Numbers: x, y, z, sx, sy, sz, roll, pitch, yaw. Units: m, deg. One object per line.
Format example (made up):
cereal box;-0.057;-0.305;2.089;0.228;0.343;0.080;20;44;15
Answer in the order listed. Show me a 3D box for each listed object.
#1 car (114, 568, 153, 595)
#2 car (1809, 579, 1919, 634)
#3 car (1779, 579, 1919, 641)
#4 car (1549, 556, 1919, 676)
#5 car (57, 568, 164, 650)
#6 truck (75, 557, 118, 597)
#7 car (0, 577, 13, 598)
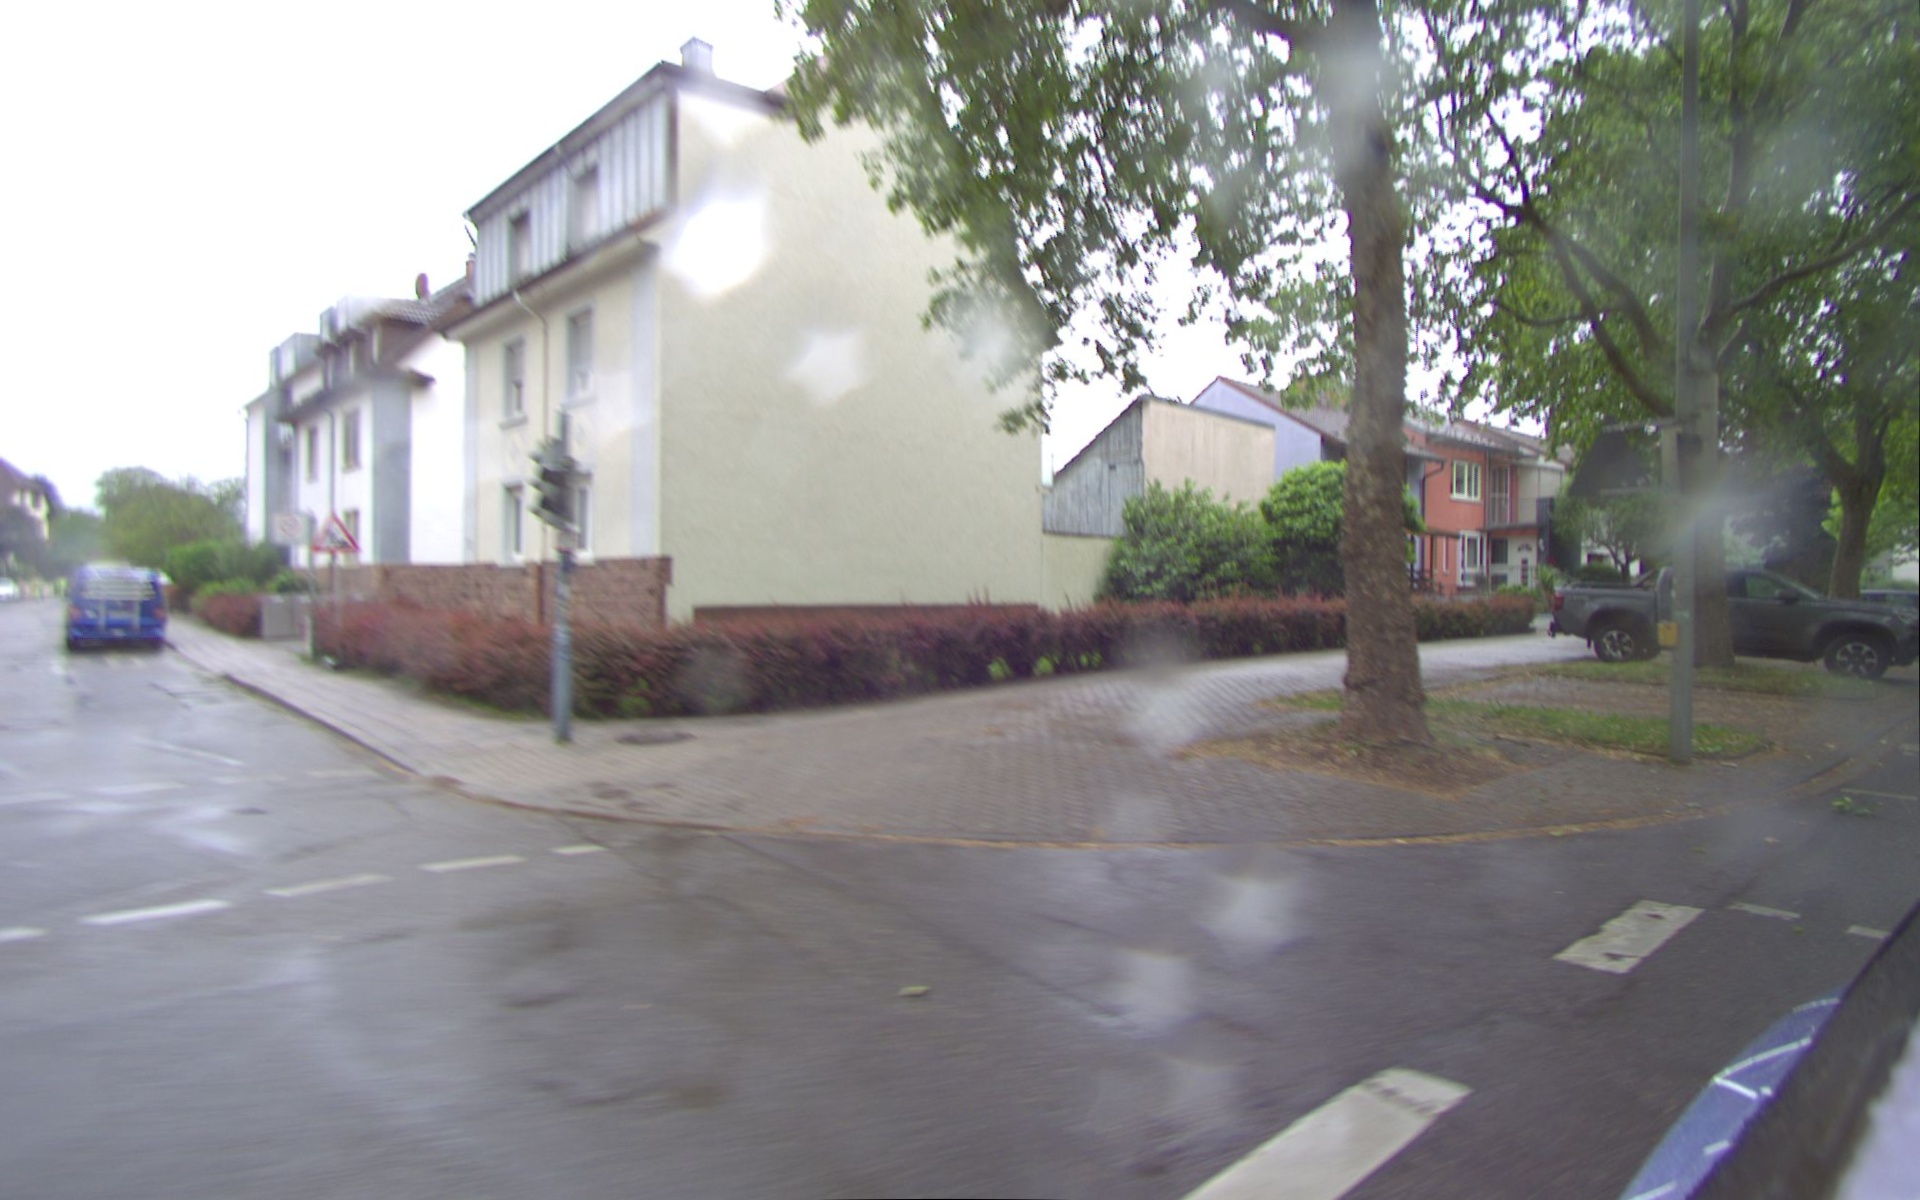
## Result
car;-68.871;-1.546;84.388;1.891;2.250;4.005;0;1;-29
car;27.827;0.210;29.286;1.904;1.491;4.773;0;2;-42
car;23.689;0.232;26.373;1.589;1.482;3.364;0;2;-39
car;13.647;0.170;17.850;1.815;1.829;5.343;0;2;-44
car;-21.638;0.157;25.717;1.895;1.900;4.673;0;1;-43
truck;-62.803;-1.643;73.658;2.044;2.821;5.235;0;1;-37
car;-69.688;-0.921;72.744;1.963;1.482;3.998;0;1;-38
